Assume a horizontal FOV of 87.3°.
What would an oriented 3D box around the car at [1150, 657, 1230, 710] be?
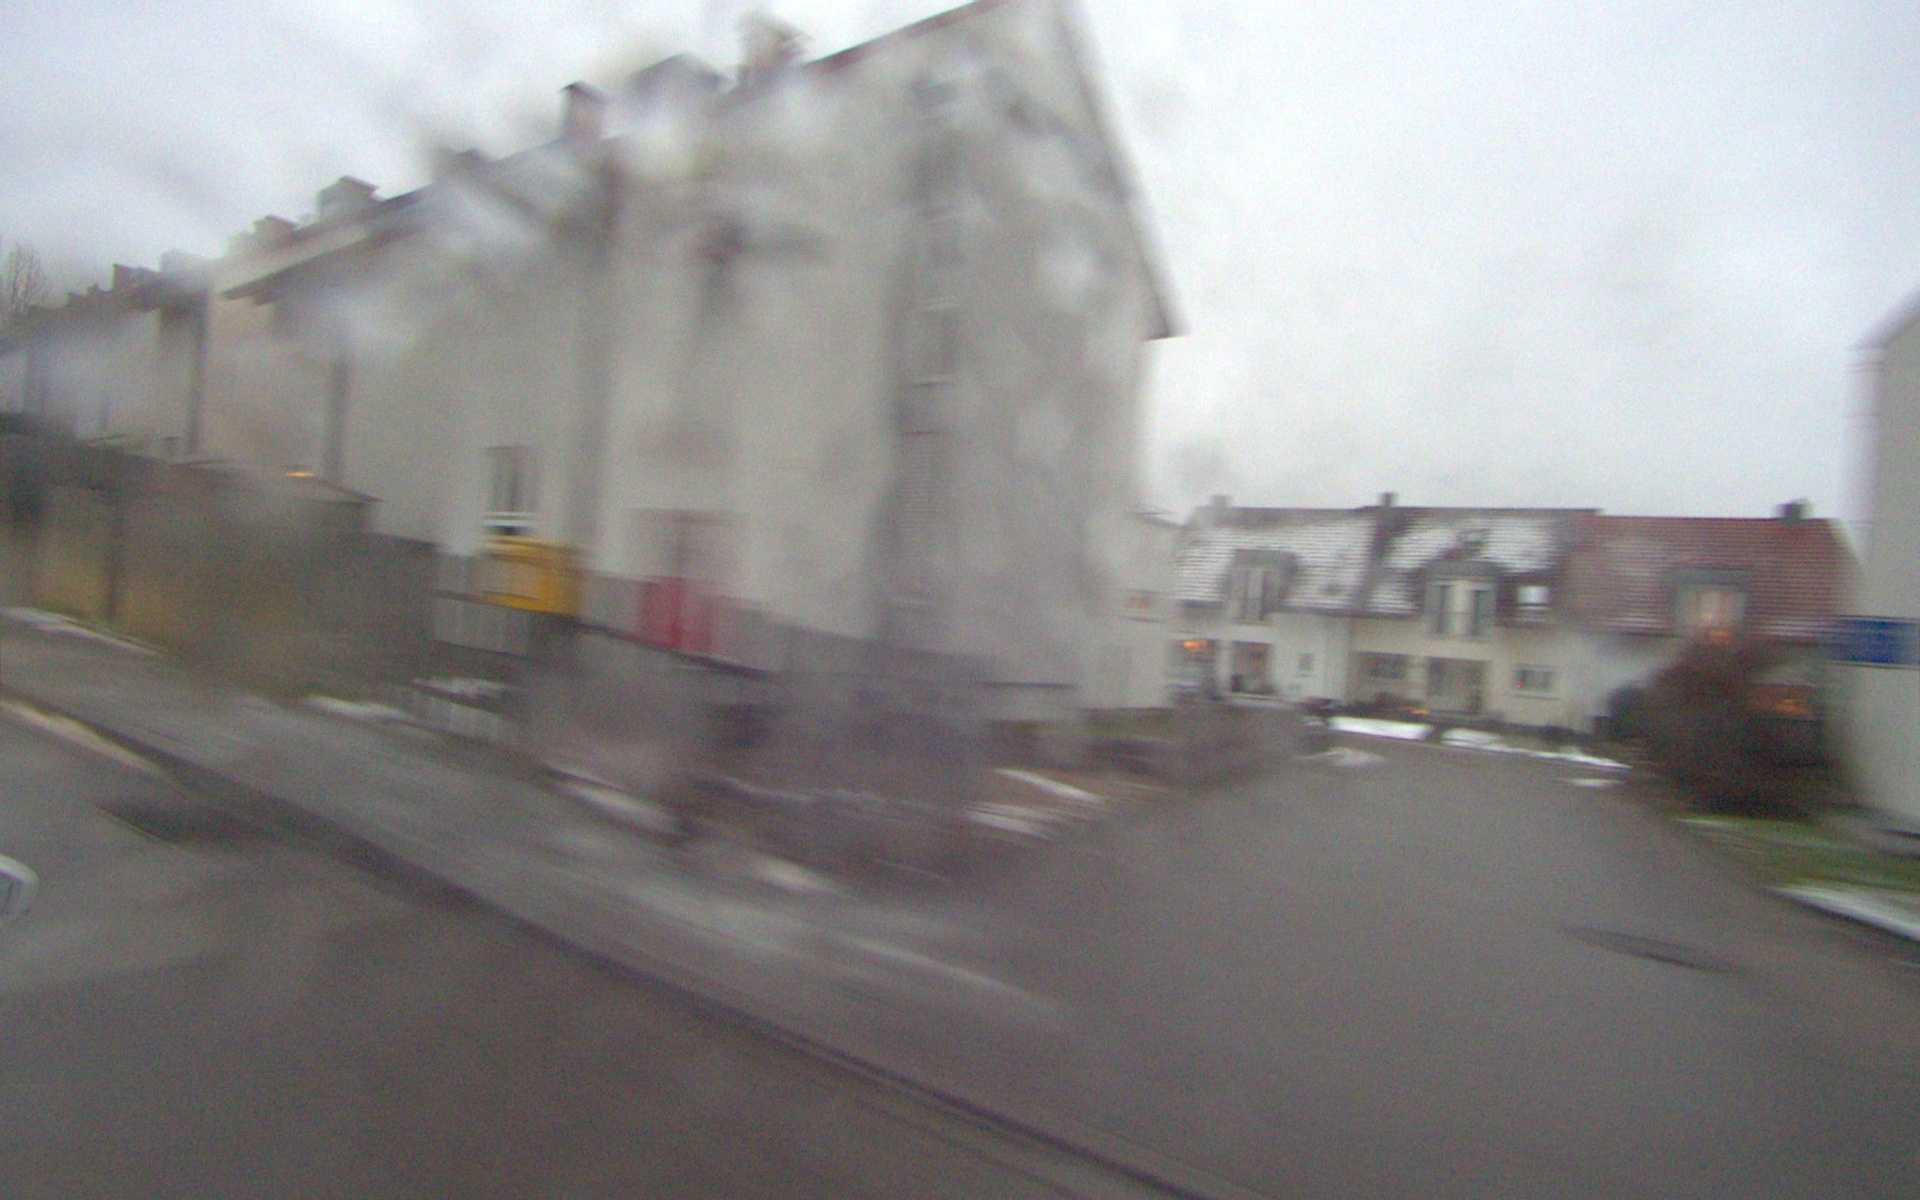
[{"bbox_3d":[8.622,3.073,37.463,1.772,1.610,3.994,8,1,28],"label":"car"}]
